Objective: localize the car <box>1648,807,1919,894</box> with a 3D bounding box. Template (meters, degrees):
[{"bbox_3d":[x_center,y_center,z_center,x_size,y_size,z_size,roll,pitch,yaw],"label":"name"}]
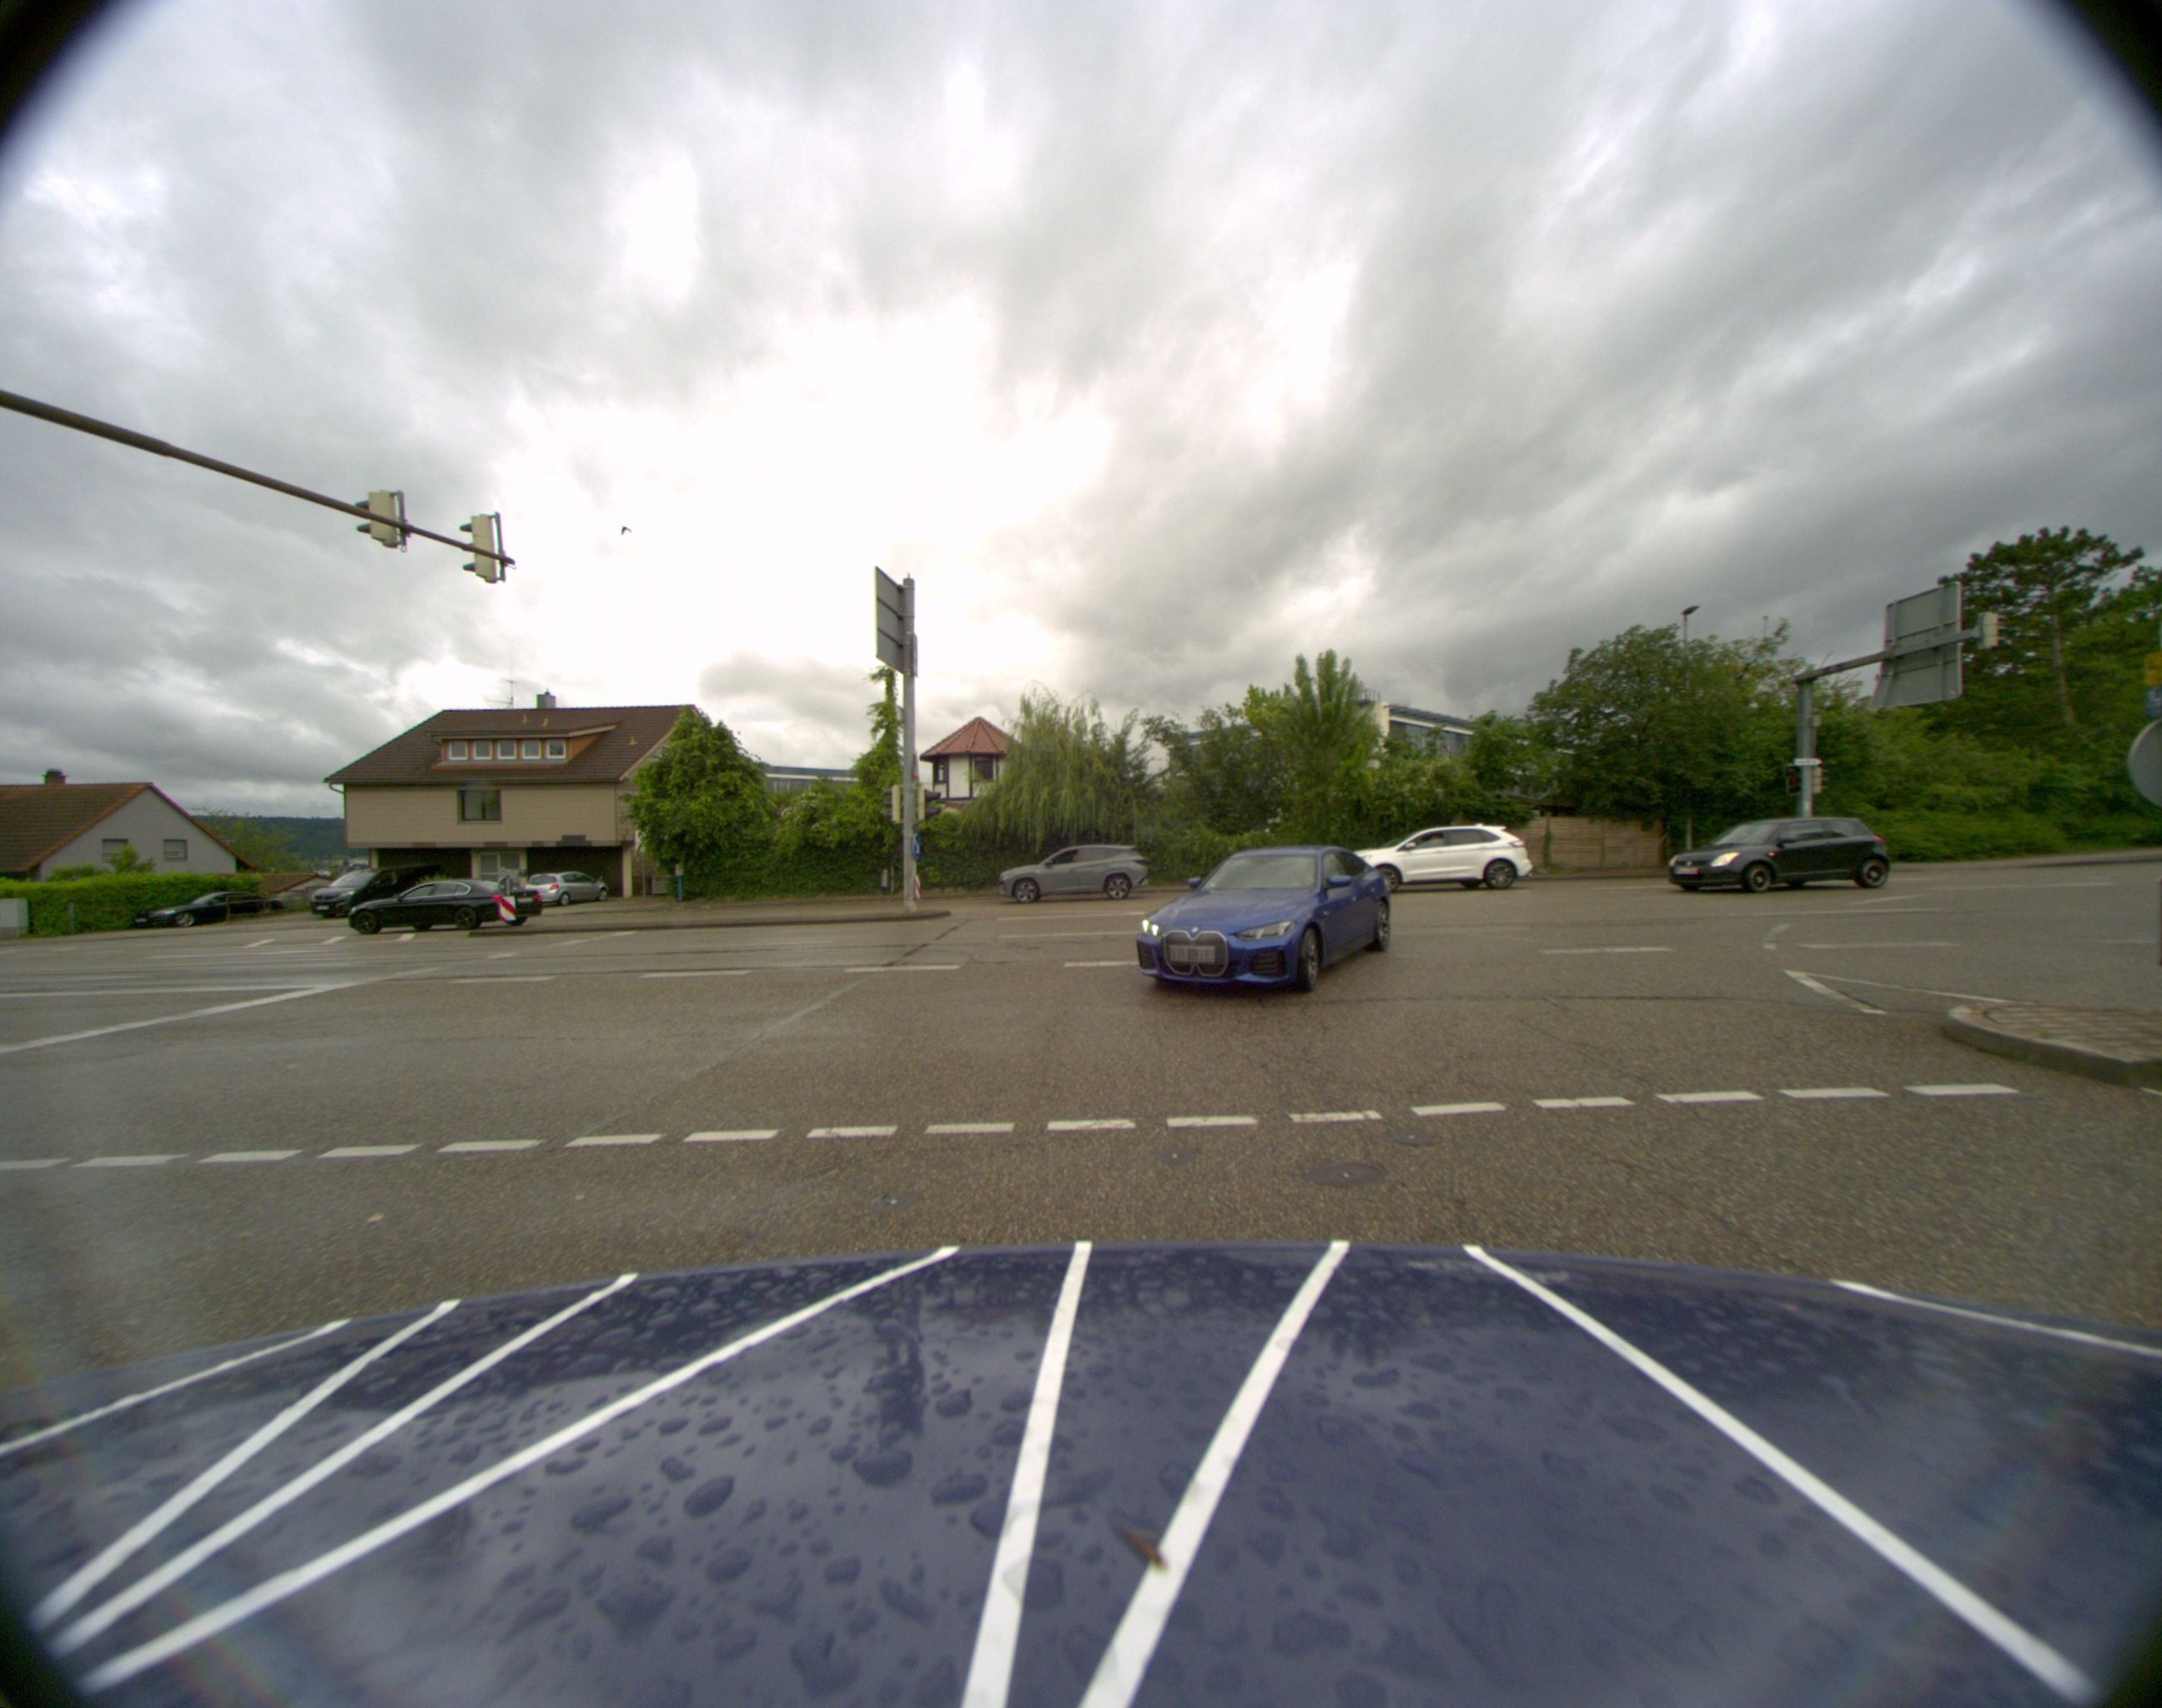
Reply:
[{"bbox_3d":[14.498,-0.076,15.844,3.997,1.510,1.747,-3,1,1],"label":"car"}]

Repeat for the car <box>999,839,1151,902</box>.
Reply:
[{"bbox_3d":[-0.164,0.474,22.960,4.331,1.630,1.906,-3,1,1],"label":"car"}]

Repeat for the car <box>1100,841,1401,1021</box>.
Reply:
[{"bbox_3d":[2.313,0.694,9.292,1.909,1.488,4.356,-1,3,37],"label":"car"}]

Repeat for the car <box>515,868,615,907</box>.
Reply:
[{"bbox_3d":[-22.758,1.437,33.695,1.769,1.446,3.573,0,2,4],"label":"car"}]

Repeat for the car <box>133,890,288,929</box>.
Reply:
[{"bbox_3d":[-36.858,2.324,32.336,1.698,1.058,4.052,-3,3,4],"label":"car"}]

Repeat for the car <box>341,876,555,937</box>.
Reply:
[{"bbox_3d":[-18.224,1.487,22.006,4.598,1.444,2.000,-3,1,5],"label":"car"}]

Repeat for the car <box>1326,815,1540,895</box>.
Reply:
[{"bbox_3d":[9.153,0.024,20.112,4.672,1.780,2.000,-3,1,5],"label":"car"}]

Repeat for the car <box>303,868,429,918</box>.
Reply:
[{"bbox_3d":[-30.700,1.610,32.765,1.769,1.642,3.571,0,6,4],"label":"car"}]
